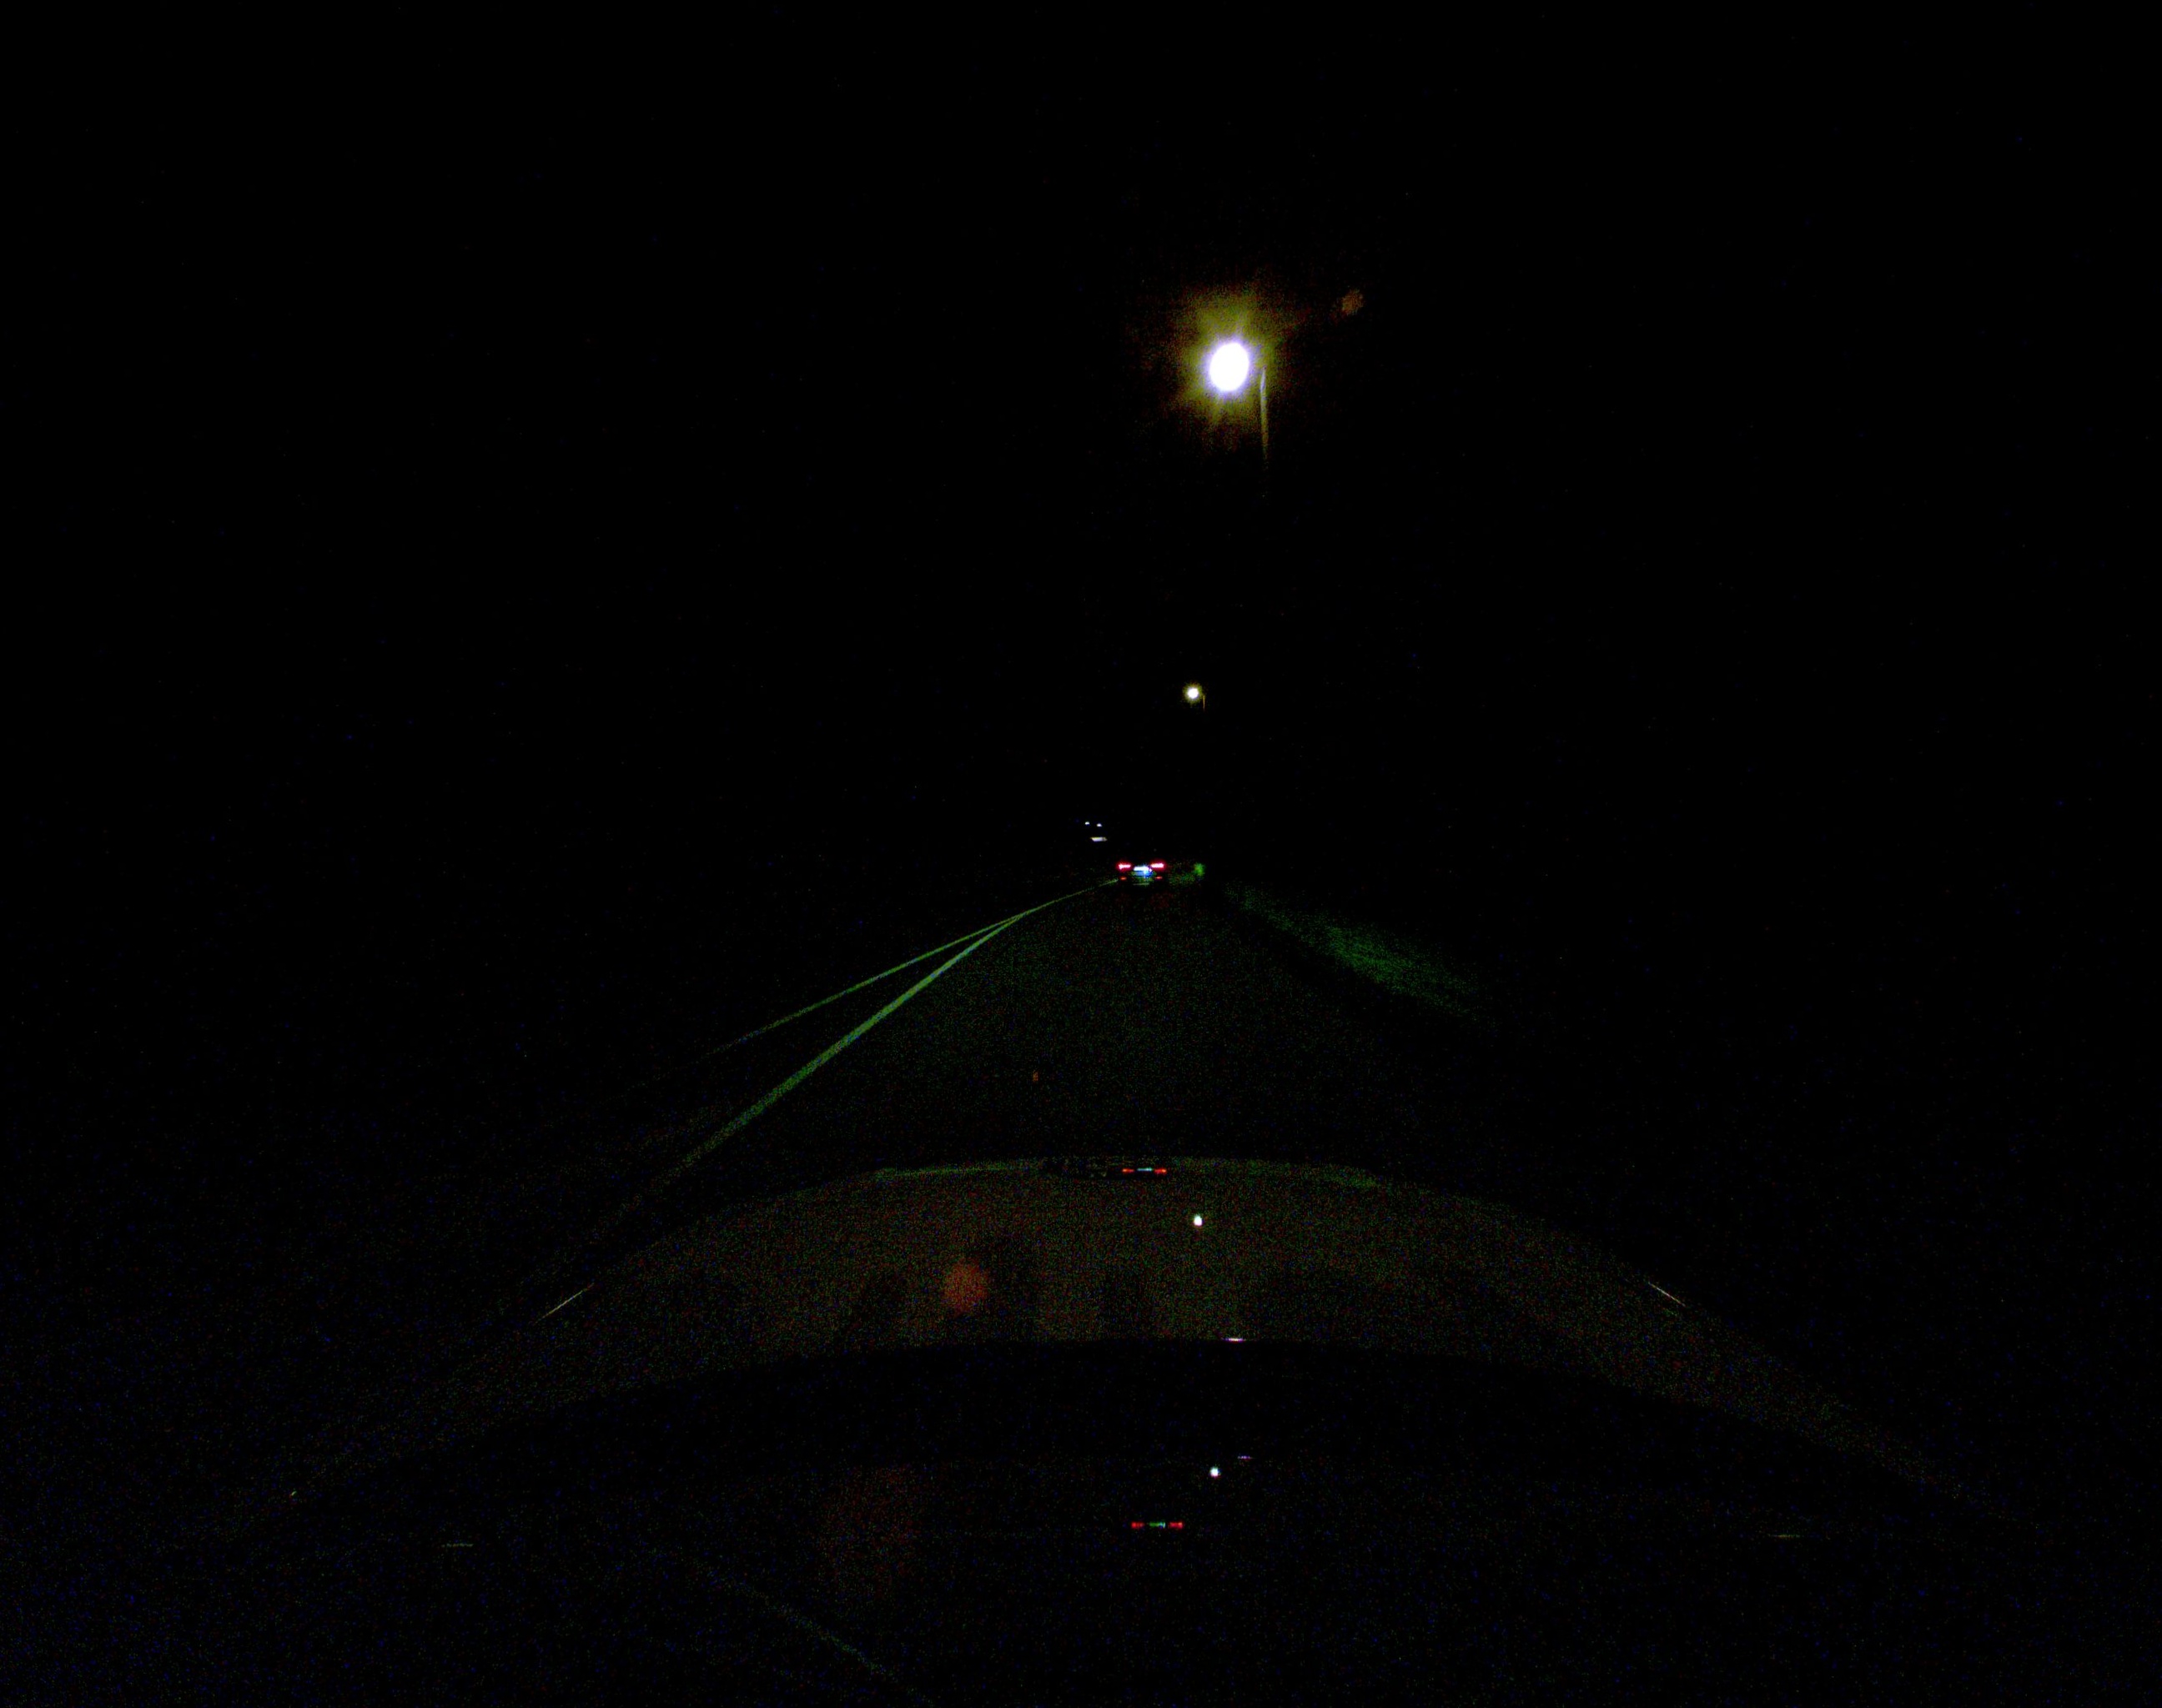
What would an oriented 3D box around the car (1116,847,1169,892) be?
[{"bbox_3d":[2.427,0.550,31.465,1.805,1.573,3.951,-1,0,7],"label":"car"}]
